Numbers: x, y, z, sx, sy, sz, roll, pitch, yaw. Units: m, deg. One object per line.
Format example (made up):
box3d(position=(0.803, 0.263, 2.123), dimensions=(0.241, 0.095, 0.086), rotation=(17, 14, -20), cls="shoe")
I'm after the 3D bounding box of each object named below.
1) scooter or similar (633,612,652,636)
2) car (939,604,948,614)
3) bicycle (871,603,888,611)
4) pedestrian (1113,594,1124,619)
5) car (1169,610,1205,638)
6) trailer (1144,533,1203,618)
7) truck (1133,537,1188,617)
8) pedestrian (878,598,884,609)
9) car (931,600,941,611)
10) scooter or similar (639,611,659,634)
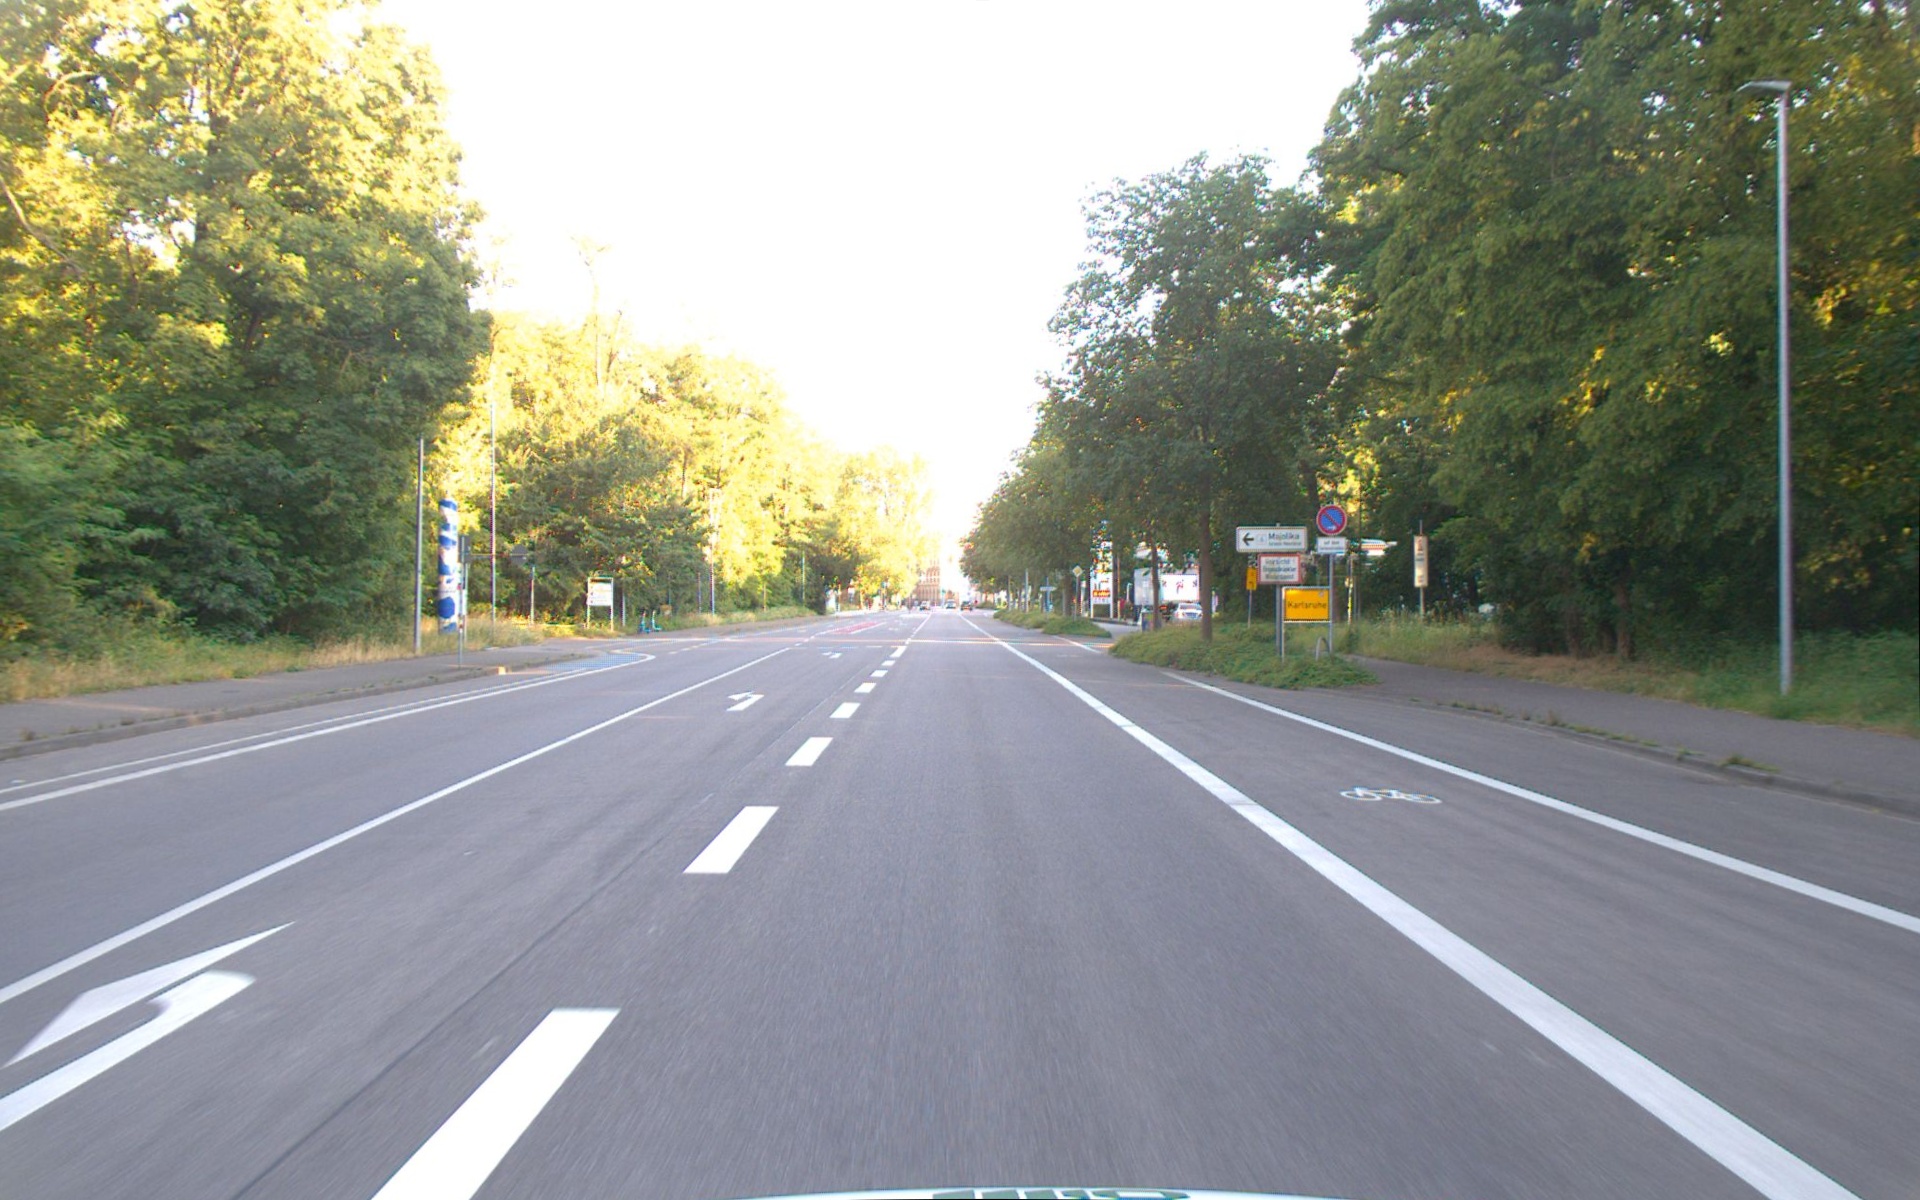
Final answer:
box3d(position=(-14.925, 1.124, 77.798), dimensions=(0.355, 1.129, 0.874), rotation=(-1, -1, 41), cls="scooter or similar")
box3d(position=(-2.582, 1.453, 261.034), dimensions=(1.462, 1.512, 3.490), rotation=(0, 0, 0), cls="car")
box3d(position=(-12.214, 1.079, 250.261), dimensions=(2.410, 1.216, 0.757), rotation=(0, -1, 9), cls="bicycle")
box3d(position=(11.765, 0.497, 122.732), dimensions=(0.741, 1.829, 0.707), rotation=(1, 0, 3), cls="pedestrian")
box3d(position=(13.732, 1.417, 100.223), dimensions=(1.733, 1.611, 4.821), rotation=(1, 0, 3), cls="car")
box3d(position=(14.463, -1.625, 112.704), dimensions=(2.958, 5.557, 7.934), rotation=(0, 0, 0), cls="trailer")
box3d(position=(14.474, -1.622, 119.900), dimensions=(2.971, 5.551, 8.409), rotation=(0, 0, 0), cls="truck")
box3d(position=(-12.004, 0.480, 250.268), dimensions=(0.774, 1.608, 0.746), rotation=(1, 0, 9), cls="pedestrian")
box3d(position=(-3.654, 0.842, 250.279), dimensions=(1.462, 1.512, 3.490), rotation=(0, 0, 0), cls="car")
box3d(position=(-15.258, 1.109, 81.101), dimensions=(0.886, 1.087, 0.492), rotation=(0, 0, -26), cls="scooter or similar")
